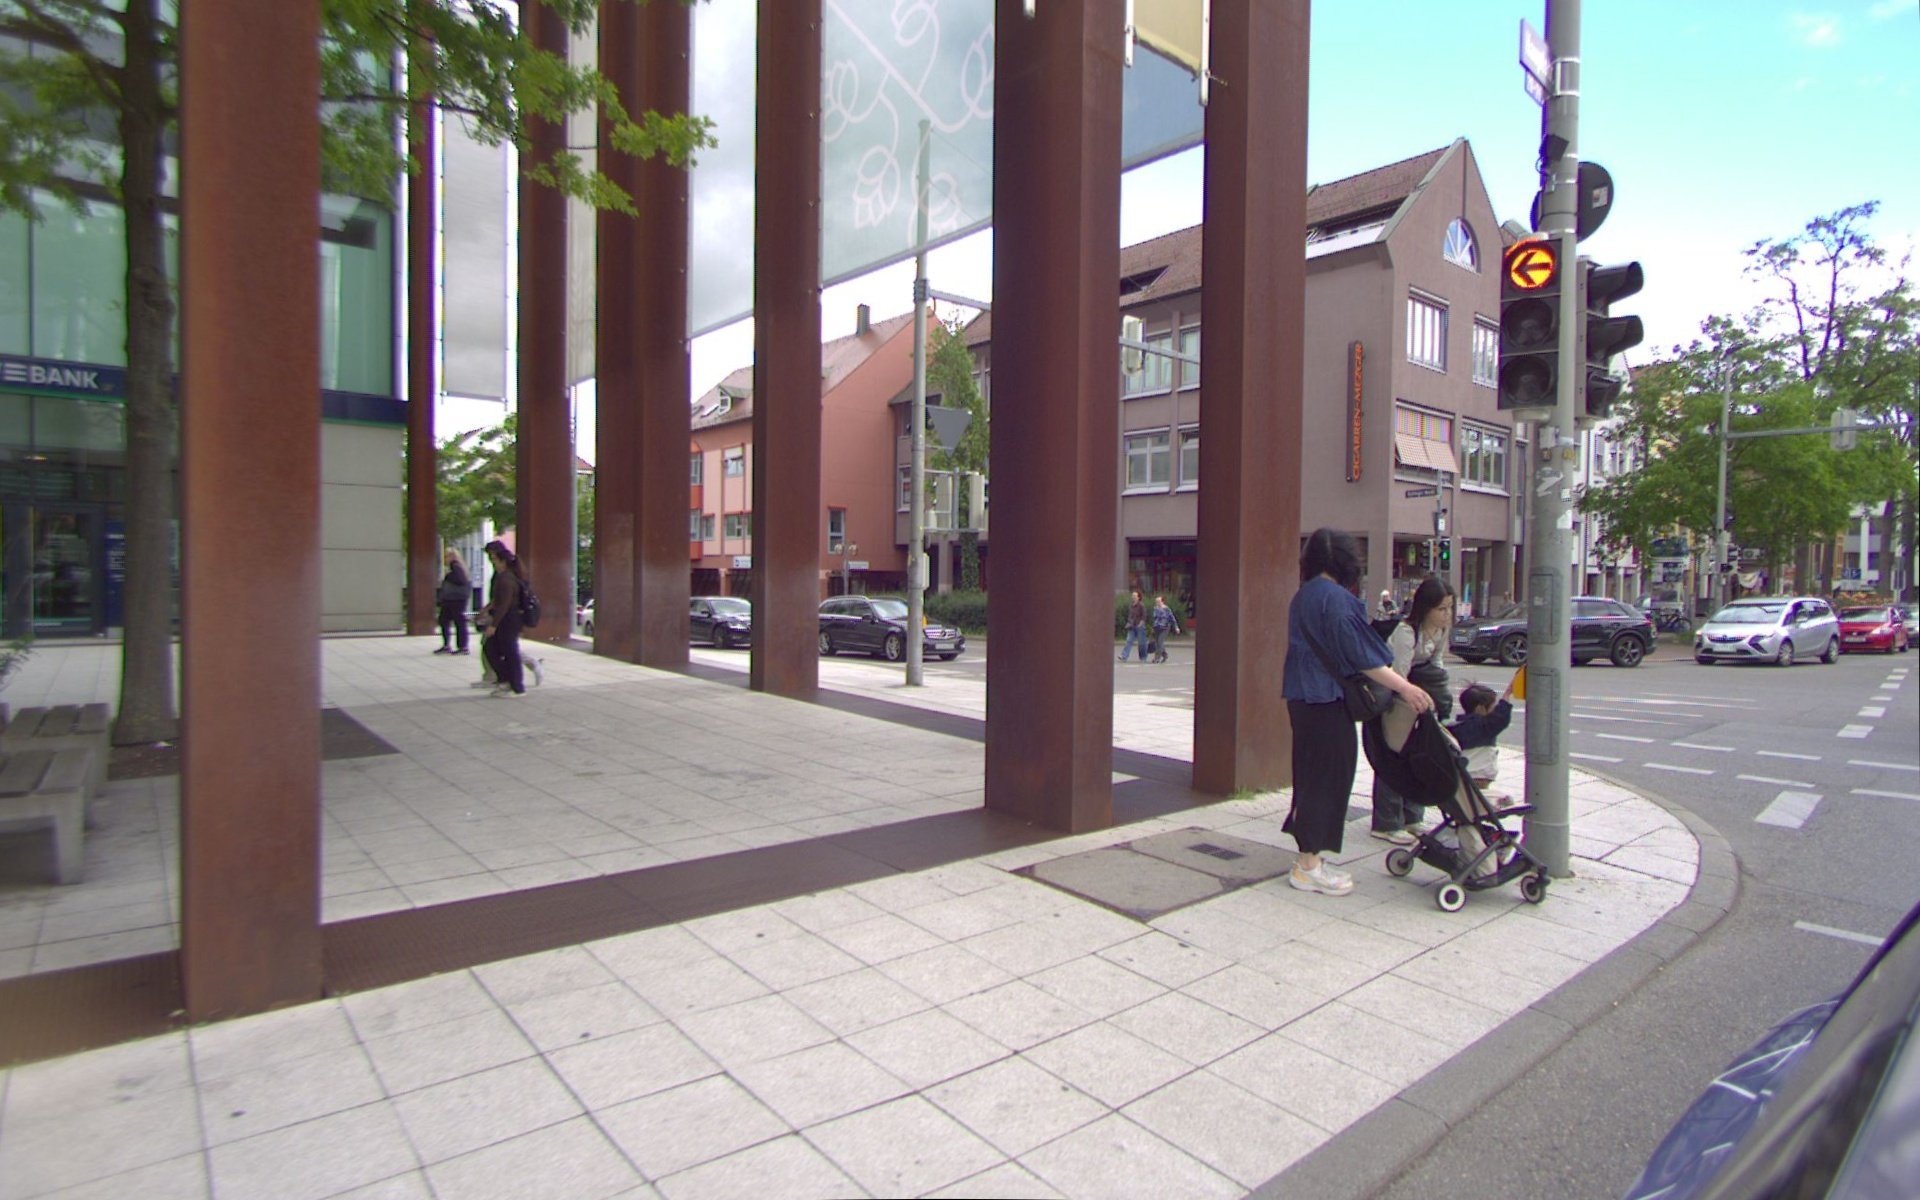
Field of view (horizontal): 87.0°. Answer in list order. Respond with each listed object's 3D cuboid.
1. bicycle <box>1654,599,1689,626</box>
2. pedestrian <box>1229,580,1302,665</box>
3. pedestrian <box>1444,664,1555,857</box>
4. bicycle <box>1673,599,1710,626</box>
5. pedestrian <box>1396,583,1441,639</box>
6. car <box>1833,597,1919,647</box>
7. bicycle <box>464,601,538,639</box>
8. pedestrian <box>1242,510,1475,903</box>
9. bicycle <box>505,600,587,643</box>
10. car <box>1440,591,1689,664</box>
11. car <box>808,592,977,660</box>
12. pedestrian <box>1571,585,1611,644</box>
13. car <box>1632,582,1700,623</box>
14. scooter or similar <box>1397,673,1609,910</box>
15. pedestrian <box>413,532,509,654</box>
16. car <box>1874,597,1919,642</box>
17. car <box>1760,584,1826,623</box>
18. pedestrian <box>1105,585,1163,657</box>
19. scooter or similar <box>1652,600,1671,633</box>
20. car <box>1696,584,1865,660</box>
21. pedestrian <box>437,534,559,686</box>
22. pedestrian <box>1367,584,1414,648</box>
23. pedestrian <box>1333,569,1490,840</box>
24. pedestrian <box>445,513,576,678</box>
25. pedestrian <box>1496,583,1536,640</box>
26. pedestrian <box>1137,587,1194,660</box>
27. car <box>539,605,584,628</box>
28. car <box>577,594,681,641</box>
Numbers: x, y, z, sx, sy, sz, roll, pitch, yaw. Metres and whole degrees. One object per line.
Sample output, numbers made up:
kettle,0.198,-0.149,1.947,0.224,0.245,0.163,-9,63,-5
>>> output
bicycle,29.909,0.521,42.558,0.399,1.061,1.569,1,1,2
pedestrian,6.460,0.442,21.409,1.090,1.737,1.058,0,1,-40
pedestrian,2.879,0.830,5.402,0.446,0.935,0.363,1,0,-37
bicycle,30.482,0.515,42.185,0.399,1.061,1.569,1,1,2
pedestrian,13.503,0.304,29.785,1.020,1.615,0.824,0,1,-38
car,28.490,0.653,31.345,3.577,1.467,1.629,0,-1,-40
bicycle,-14.052,0.599,31.023,1.957,1.115,0.720,0,1,-40
pedestrian,1.822,0.450,4.748,0.666,1.667,0.874,1,0,-5
bicycle,-11.220,0.569,27.457,1.957,1.115,0.720,0,1,-40
car,14.152,0.616,23.854,4.766,1.629,1.858,0,0,-3
car,-1.655,0.535,23.529,1.769,1.422,4.179,0,0,-41
pedestrian,18.351,0.407,29.436,0.937,1.646,0.742,0,1,-43
car,33.671,0.105,48.245,4.188,1.826,1.737,0,2,-42
scooter or similar,2.515,0.858,4.747,0.608,0.973,0.636,1,1,-6
pedestrian,-7.610,-0.116,15.436,1.101,1.789,0.880,0,1,-42
car,33.714,0.656,35.665,3.931,1.549,1.799,0,-1,-41
car,44.091,0.159,53.531,4.673,1.899,1.997,-1,3,-42
pedestrian,3.980,0.459,23.196,1.040,1.604,0.831,0,1,-40
scooter or similar,25.298,0.591,36.494,0.468,1.101,1.866,2,2,33
car,20.265,0.498,24.954,4.292,1.722,1.747,0,-1,-29
pedestrian,-5.501,0.100,12.054,1.101,1.702,0.880,0,1,-42
pedestrian,11.722,0.415,27.553,1.075,1.645,0.809,-5,5,-42
pedestrian,2.575,0.551,5.782,0.571,1.438,0.603,1,0,-37
pedestrian,-4.955,-0.062,11.159,1.101,1.702,0.880,0,1,-42
pedestrian,16.674,0.335,30.344,0.937,1.646,0.742,0,1,-43
pedestrian,4.568,0.499,22.528,0.952,1.578,0.831,0,1,-40
car,-25.758,1.065,65.361,1.694,1.412,3.737,2,-2,-39
car,-11.533,0.551,35.062,1.769,1.506,4.564,0,0,-41
